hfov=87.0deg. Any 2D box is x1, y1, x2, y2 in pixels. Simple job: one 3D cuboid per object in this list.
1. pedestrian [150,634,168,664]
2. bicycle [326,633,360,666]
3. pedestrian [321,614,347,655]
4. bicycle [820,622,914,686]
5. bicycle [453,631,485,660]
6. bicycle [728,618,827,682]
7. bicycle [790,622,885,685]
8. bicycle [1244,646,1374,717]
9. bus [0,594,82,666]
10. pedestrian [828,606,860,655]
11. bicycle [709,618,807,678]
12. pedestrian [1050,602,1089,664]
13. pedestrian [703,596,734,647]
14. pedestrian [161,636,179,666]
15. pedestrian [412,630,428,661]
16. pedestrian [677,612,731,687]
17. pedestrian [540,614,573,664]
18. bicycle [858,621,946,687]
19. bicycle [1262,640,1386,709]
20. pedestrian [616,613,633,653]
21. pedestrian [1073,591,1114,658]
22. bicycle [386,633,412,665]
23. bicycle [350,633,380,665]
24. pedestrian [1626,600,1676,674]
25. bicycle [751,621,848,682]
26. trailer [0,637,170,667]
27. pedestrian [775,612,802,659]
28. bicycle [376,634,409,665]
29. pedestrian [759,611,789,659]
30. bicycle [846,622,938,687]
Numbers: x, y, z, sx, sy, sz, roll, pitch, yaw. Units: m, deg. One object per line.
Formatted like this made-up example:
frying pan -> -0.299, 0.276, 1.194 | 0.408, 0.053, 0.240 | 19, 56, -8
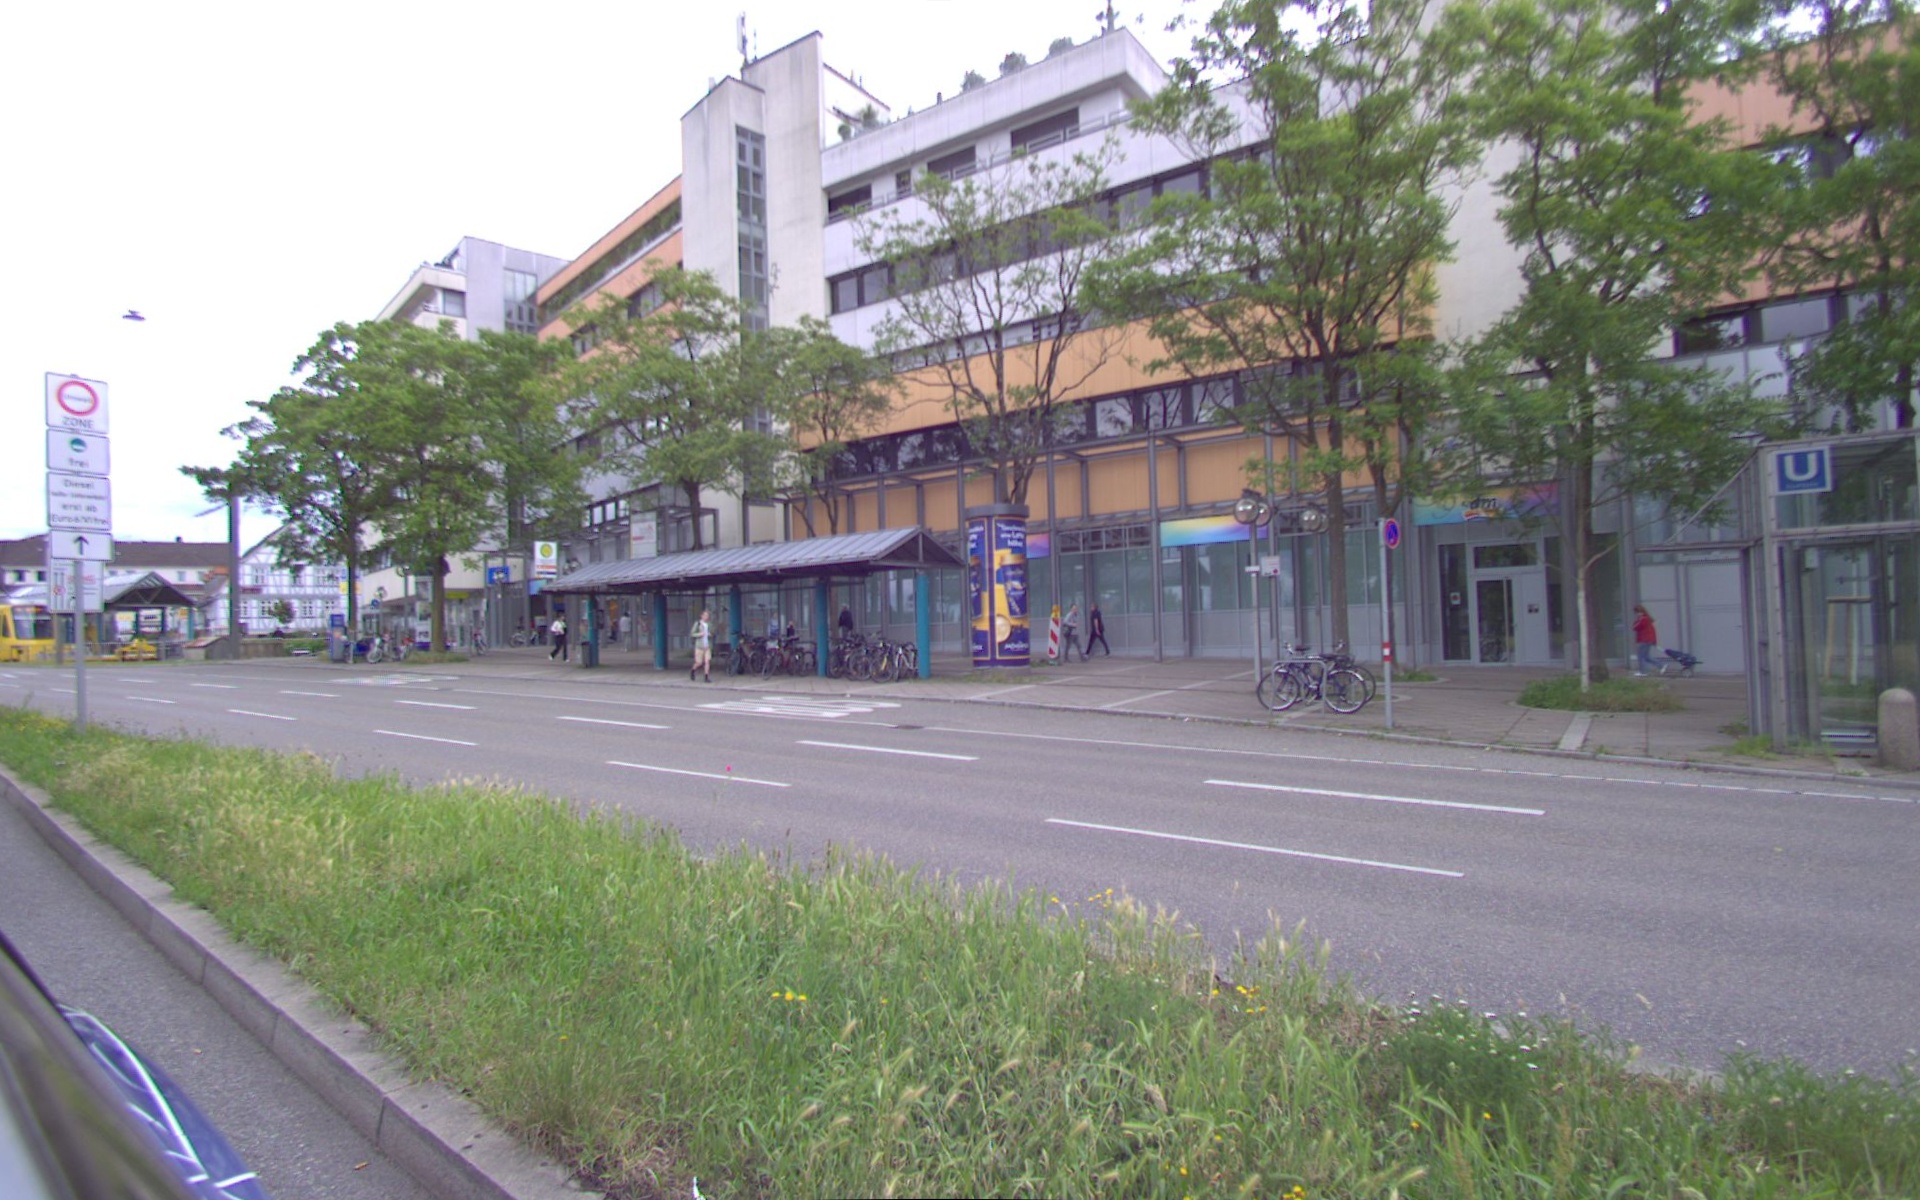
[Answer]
pedestrian -> -43.135, 2.619, 54.512 | 0.618, 1.585, 0.594 | -2, -2, 30
bicycle -> -23.688, 1.893, 38.878 | 0.594, 1.170, 1.971 | -3, 0, -17
pedestrian -> -29.689, 1.641, 48.025 | 0.871, 1.891, 0.738 | -2, -2, 32
bicycle -> -2.300, 1.331, 25.494 | 0.776, 1.518, 2.876 | -2, -2, 32
bicycle -> -20.135, 1.857, 41.503 | 0.663, 1.170, 2.023 | -1, -2, -10
bicycle -> -4.892, 1.318, 27.371 | 0.888, 1.518, 2.877 | -2, 0, 32
bicycle -> -3.096, 1.337, 25.989 | 0.803, 1.518, 2.876 | -2, -2, 32
bicycle -> 5.747, 1.317, 16.687 | 1.926, 1.092, 0.825 | -2, -2, 27
bus -> -59.112, 1.973, 60.339 | 19.256, 3.889, 3.851 | -2, -2, 29
pedestrian -> -4.221, 1.096, 36.823 | 0.786, 1.729, 0.765 | -2, 0, 29
bicycle -> -5.618, 1.312, 28.372 | 0.969, 1.518, 2.877 | -2, 0, 32
pedestrian -> 3.153, 0.946, 29.137 | 0.787, 1.729, 0.764 | -2, 0, 32
pedestrian -> -8.353, 0.745, 35.011 | 0.763, 1.729, 0.789 | -2, 0, -32
pedestrian -> -43.197, 2.782, 55.327 | 0.618, 1.585, 0.594 | -2, -2, 30
pedestrian -> -30.276, 2.537, 56.694 | 0.626, 1.713, 0.545 | -2, -2, 31
pedestrian -> -6.556, 1.243, 25.877 | 1.212, 1.836, 0.697 | -1, 0, 38
pedestrian -> -14.238, 1.361, 35.722 | 0.705, 1.725, 0.768 | -2, 0, 35
bicycle -> -1.382, 1.285, 24.812 | 0.597, 1.518, 2.876 | -2, -2, 32
bicycle -> 6.336, 1.278, 17.621 | 1.946, 1.145, 0.709 | -2, -2, 26
pedestrian -> -14.203, 1.388, 42.793 | 0.623, 1.612, 0.624 | -2, 0, -18
pedestrian -> 4.137, 0.774, 31.391 | 0.932, 2.029, 0.888 | -2, -2, 35
bicycle -> -21.464, 1.870, 38.748 | 0.594, 1.170, 1.695 | 0, -2, -18
bicycle -> -22.816, 1.879, 38.833 | 0.594, 1.170, 1.971 | 0, -2, -18
pedestrian -> 15.187, 0.814, 22.268 | 0.822, 1.598, 0.629 | -1, -2, 31
bicycle -> -4.240, 1.337, 26.967 | 0.809, 1.518, 2.875 | -2, -2, 34
trailer -> -45.369, 2.714, 52.205 | 12.073, 1.343, 2.822 | -2, -2, 29
pedestrian -> -6.010, 1.233, 35.454 | 0.621, 1.612, 0.627 | -2, 0, 35
bicycle -> -22.374, 1.942, 39.898 | 1.966, 1.170, 0.596 | -3, -3, 44
pedestrian -> -6.420, 1.193, 34.879 | 0.705, 1.595, 0.660 | -2, 0, 35
bicycle -> -1.640, 1.307, 24.991 | 0.698, 1.518, 2.876 | -2, -2, 32
